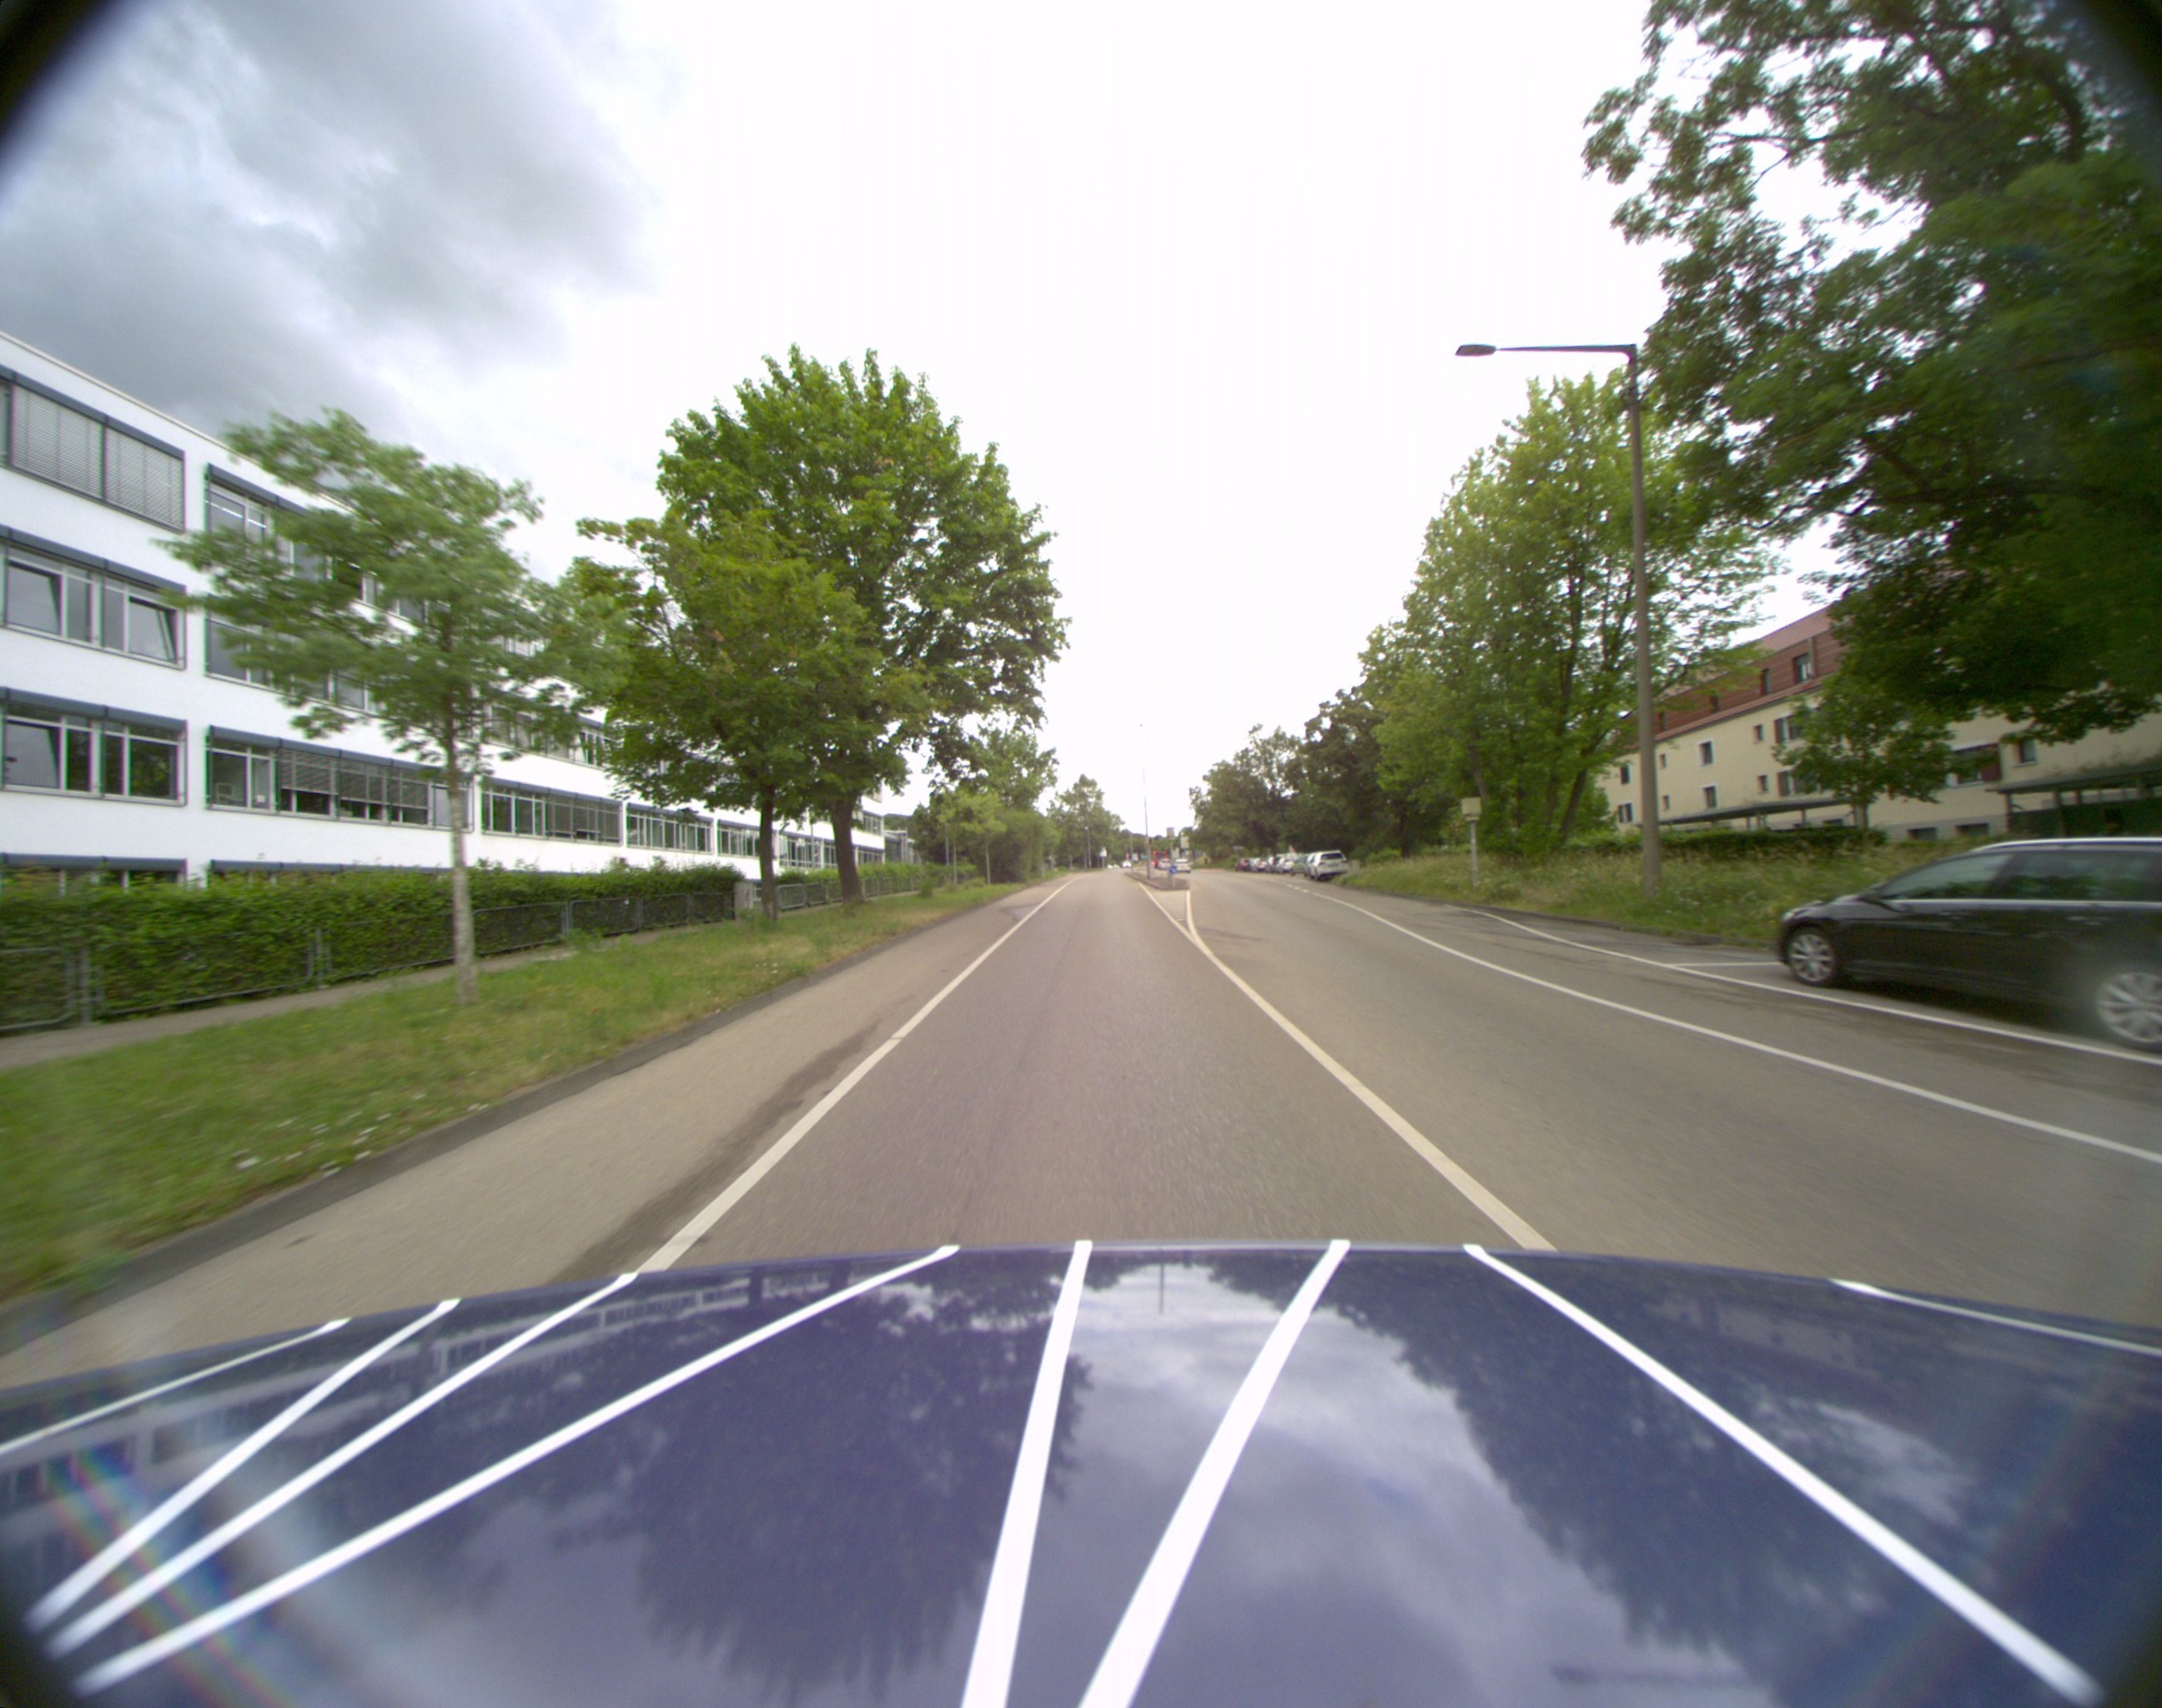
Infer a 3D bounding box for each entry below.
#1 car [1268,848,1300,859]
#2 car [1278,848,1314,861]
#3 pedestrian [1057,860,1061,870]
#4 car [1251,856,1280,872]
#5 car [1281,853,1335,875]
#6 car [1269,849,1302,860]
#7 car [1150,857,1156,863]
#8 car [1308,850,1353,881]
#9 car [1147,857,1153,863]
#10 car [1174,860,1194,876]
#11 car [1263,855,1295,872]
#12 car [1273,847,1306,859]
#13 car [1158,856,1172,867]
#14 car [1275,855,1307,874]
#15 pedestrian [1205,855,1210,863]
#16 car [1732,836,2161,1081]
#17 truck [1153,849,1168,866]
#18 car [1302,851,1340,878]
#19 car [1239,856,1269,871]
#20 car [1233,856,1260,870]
[{"bbox_3d":[36.685,-0.146,137.355,5.297,2.002,1.739,0,1,1],"label":"car"},{"bbox_3d":[35.002,0.032,123.689,5.297,2.002,2.012,0,1,1],"label":"car"},{"bbox_3d":[-3.944,1.919,134.932,0.734,1.717,0.502,-1,1,-1],"label":"pedestrian"},{"bbox_3d":[18.265,0.964,75.461,1.880,1.498,4.057,-3,0,2],"label":"car"},{"bbox_3d":[16.660,0.764,56.029,1.882,1.498,3.995,-2,-1,-16],"label":"car"},{"bbox_3d":[36.274,0.045,134.918,5.297,2.002,1.739,0,1,1],"label":"car"},{"bbox_3d":[20.593,1.609,217.098,1.591,1.608,3.585,-2,-1,6],"label":"car"},{"bbox_3d":[14.733,0.631,45.063,1.878,1.657,4.394,-3,0,10],"label":"car"},{"bbox_3d":[20.336,1.705,222.918,1.591,1.608,3.585,-2,-1,6],"label":"car"},{"bbox_3d":[11.751,1.593,87.034,1.879,1.561,4.340,-3,1,4],"label":"car"},{"bbox_3d":[18.115,0.868,69.613,1.880,1.498,4.001,-3,-1,2],"label":"car"},{"bbox_3d":[36.123,-0.144,131.744,5.296,2.002,1.740,0,1,3],"label":"car"},{"bbox_3d":[14.000,1.268,126.314,1.832,1.759,4.407,-3,0,2],"label":"car"},{"bbox_3d":[17.832,0.851,64.643,1.879,1.498,4.001,-2,-1,4],"label":"car"},{"bbox_3d":[24.810,0.984,149.170,0.757,1.438,0.639,-3,1,2],"label":"pedestrian"},{"bbox_3d":[8.113,0.671,6.153,1.879,1.561,4.652,-2,0,4],"label":"car"},{"bbox_3d":[16.548,0.712,157.650,2.830,3.460,7.827,-2,0,6],"label":"truck"},{"bbox_3d":[16.049,0.700,50.949,1.878,1.587,4.002,-3,1,10],"label":"car"},{"bbox_3d":[18.450,0.980,81.108,1.881,1.498,3.998,-3,0,-7],"label":"car"},{"bbox_3d":[18.573,1.001,85.373,1.880,1.498,3.887,-3,-1,-4],"label":"car"}]
